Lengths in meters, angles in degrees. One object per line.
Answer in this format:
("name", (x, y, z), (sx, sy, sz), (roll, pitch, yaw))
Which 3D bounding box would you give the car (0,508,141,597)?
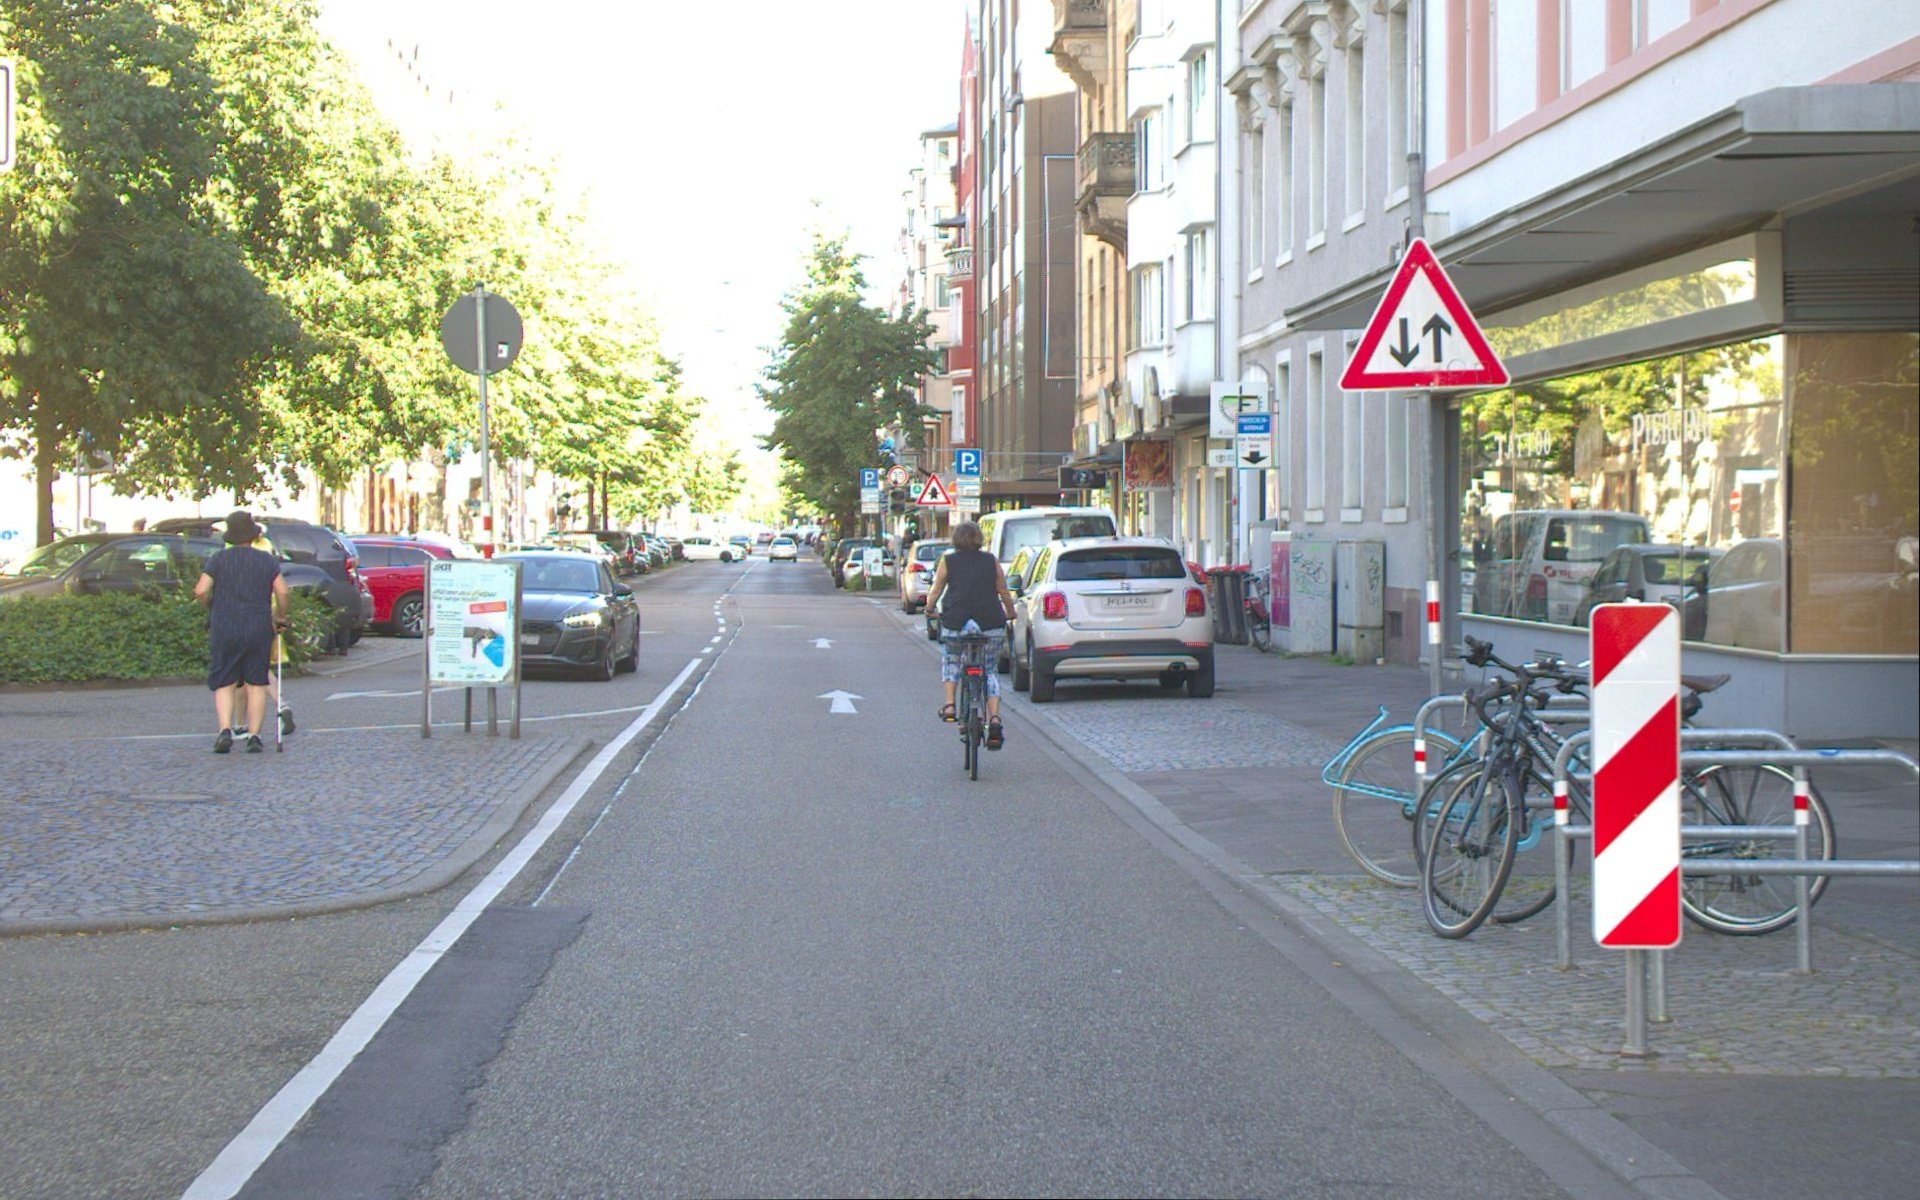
("car", (-20.241, -1.033, 72.689), (5.263, 1.794, 2.164), (2, 0, -29))

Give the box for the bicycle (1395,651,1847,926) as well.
("bicycle", (2.612, 0.729, 13.604), (1.704, 1.001, 0.427), (2, 0, 13))

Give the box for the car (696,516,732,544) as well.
("car", (-14.588, -4.157, 203.954), (1.993, 1.550, 4.000), (2, 0, -2))

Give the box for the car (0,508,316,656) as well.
("car", (-9.122, -0.188, 36.637), (3.988, 1.465, 1.874), (2, 0, -37))

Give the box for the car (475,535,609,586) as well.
("car", (-13.228, -1.240, 108.952), (3.986, 1.503, 2.000), (2, 0, -2))

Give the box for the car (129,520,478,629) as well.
("car", (-9.884, -0.377, 51.808), (4.834, 1.483, 1.765), (2, 0, -26))

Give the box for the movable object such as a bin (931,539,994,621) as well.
("movable object such as a bin", (0.059, -0.384, 64.939), (1.073, 1.452, 1.492), (-2, 2, 2))

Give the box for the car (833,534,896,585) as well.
("car", (-3.223, -1.370, 116.663), (1.993, 1.612, 4.010), (2, 0, 0))

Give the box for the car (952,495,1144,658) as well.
("car", (1.084, -0.345, 44.878), (1.993, 1.998, 5.118), (0, 1, -4))

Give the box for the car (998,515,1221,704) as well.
("car", (1.436, 0.088, 34.802), (1.745, 1.733, 4.961), (2, 0, -3))

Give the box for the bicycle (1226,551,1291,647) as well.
("bicycle", (3.811, -0.003, 43.820), (0.483, 1.182, 1.718), (-2, -1, 16))

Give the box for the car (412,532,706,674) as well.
("car", (-4.341, 0.038, 38.024), (1.912, 1.412, 4.808), (2, 0, 10))

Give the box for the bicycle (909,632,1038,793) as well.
("bicycle", (0.064, 0.709, 22.640), (0.652, 0.955, 2.698), (2, 0, -3))

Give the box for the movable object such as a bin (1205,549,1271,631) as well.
("movable object such as a bin", (3.812, -0.139, 47.150), (0.794, 1.073, 0.660), (-3, 0, -1))

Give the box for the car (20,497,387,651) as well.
("car", (-8.928, -0.308, 40.483), (3.986, 1.662, 2.001), (2, 1, -18))

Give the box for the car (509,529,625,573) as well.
("car", (-14.241, -1.771, 124.733), (3.986, 1.503, 1.895), (2, 0, -2))

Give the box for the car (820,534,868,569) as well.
("car", (-5.037, -2.115, 148.911), (1.993, 1.448, 4.001), (1, 1, -3))

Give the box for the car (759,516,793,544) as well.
("car", (-10.961, -4.170, 204.964), (1.870, 1.550, 4.000), (2, 0, -2))

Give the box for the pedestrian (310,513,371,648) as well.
("pedestrian", (-7.686, -0.246, 42.665), (0.699, 1.644, 0.646), (2, 0, -9))

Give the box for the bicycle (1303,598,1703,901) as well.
("bicycle", (2.386, 0.636, 15.089), (1.623, 1.239, 0.658), (2, 0, 18))

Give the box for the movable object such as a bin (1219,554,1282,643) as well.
("movable object such as a bin", (3.877, -0.016, 45.876), (0.768, 1.157, 0.578), (2, 0, 0))

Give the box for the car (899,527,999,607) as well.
("car", (-0.276, -0.705, 75.566), (1.899, 1.669, 4.825), (2, 0, -3))

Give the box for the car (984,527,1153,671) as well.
("car", (1.220, -0.015, 40.116), (1.699, 1.598, 3.757), (0, 0, -2))

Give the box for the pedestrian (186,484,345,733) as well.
("pedestrian", (-4.822, 0.057, 23.880), (0.804, 1.693, 0.669), (1, 0, 28))

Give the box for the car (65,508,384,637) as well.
("car", (-9.817, -0.361, 46.130), (3.986, 1.592, 1.750), (2, 0, -6))

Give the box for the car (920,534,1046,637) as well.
("car", (0.330, -0.221, 54.185), (1.718, 1.510, 3.583), (-2, 0, -3))

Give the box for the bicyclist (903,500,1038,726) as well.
("bicyclist", (0.058, 0.084, 22.817), (0.786, 1.448, 1.096), (2, 0, -3))

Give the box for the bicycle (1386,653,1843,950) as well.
("bicycle", (2.513, 0.759, 13.233), (1.680, 1.058, 0.343), (2, 0, 13))

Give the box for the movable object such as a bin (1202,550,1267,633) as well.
("movable object such as a bin", (3.820, -0.117, 47.856), (0.838, 1.133, 0.699), (0, 0, 0))

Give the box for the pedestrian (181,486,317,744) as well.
("pedestrian", (-4.677, 0.098, 22.602), (0.636, 1.666, 0.692), (1, 0, -32))
